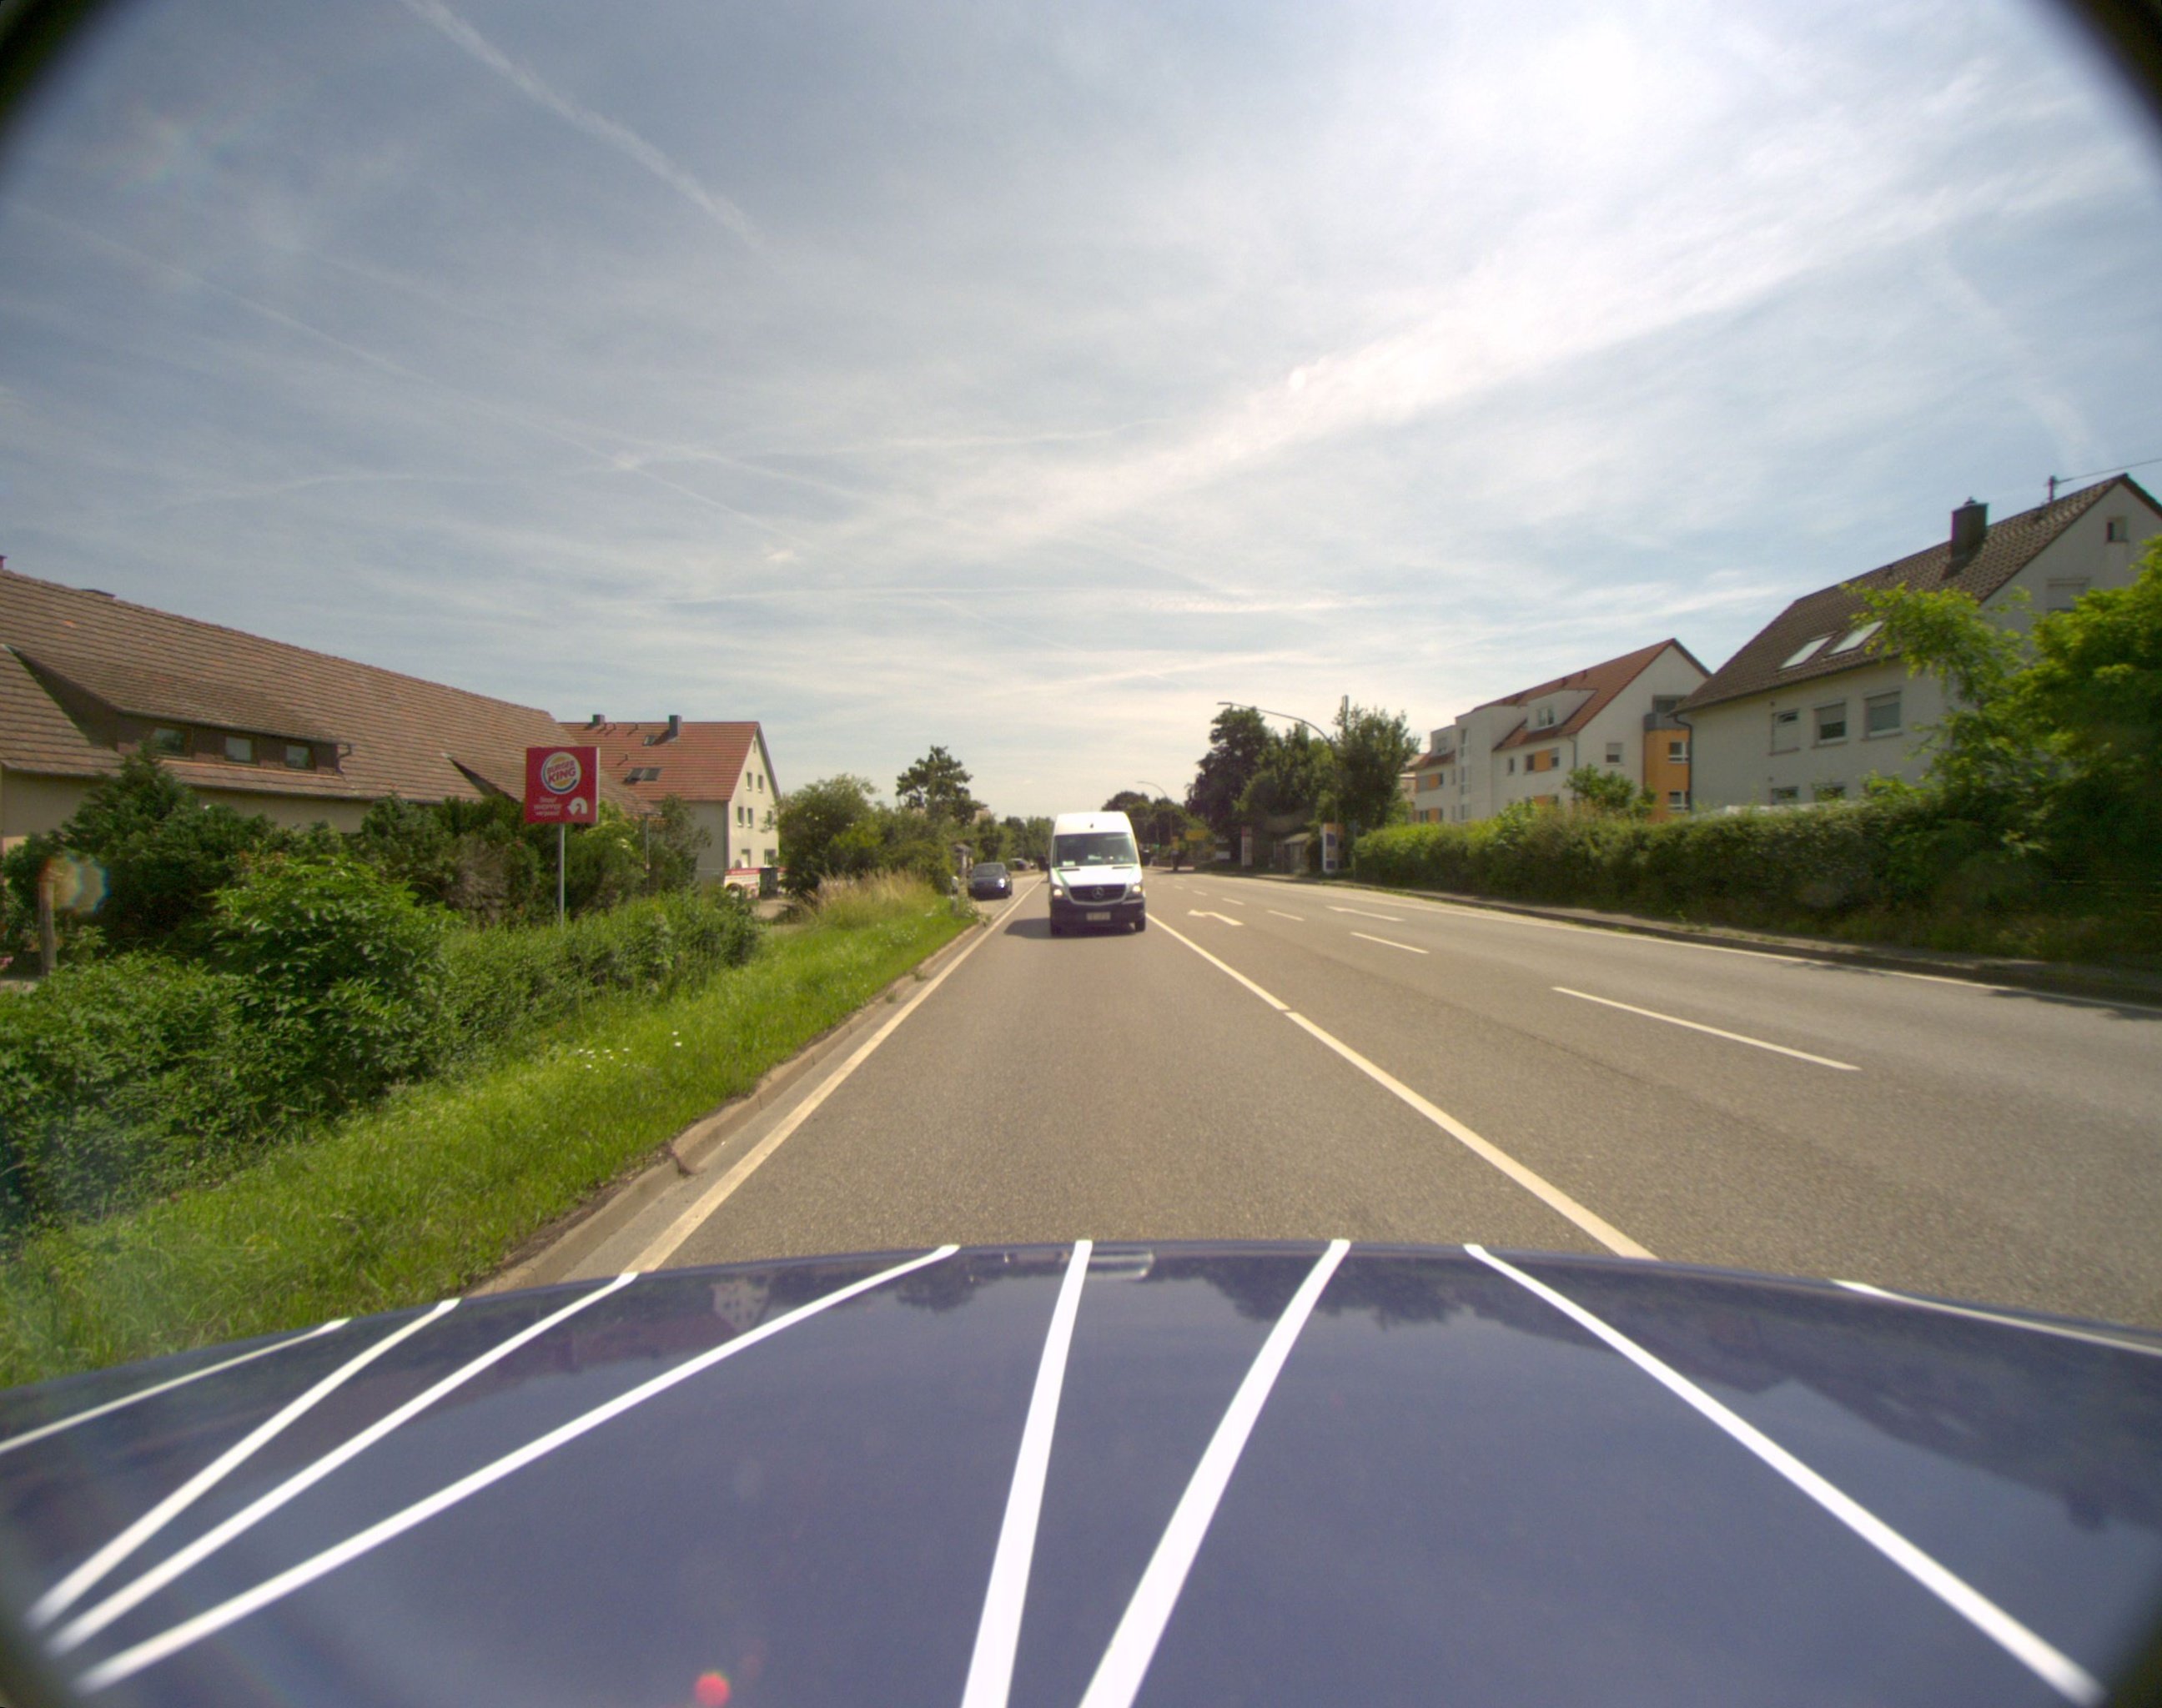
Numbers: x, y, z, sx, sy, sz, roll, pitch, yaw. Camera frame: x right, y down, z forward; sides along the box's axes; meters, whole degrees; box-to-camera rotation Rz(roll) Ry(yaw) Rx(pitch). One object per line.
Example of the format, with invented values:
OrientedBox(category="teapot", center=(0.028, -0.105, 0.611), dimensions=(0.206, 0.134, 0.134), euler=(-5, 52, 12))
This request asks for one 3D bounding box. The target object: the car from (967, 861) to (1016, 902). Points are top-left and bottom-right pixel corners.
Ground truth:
OrientedBox(category="car", center=(-3.737, 1.113, 32.138), dimensions=(1.636, 1.476, 3.551), euler=(-5, 1, -2))

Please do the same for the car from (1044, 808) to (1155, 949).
OrientedBox(category="car", center=(0.326, 0.431, 16.740), dimensions=(1.939, 2.514, 5.748), euler=(-2, 0, 0))

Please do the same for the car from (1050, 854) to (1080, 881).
OrientedBox(category="car", center=(-1.030, 0.880, 51.606), dimensions=(1.884, 1.652, 4.625), euler=(-2, 0, 0))

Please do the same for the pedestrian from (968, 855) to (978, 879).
OrientedBox(category="pedestrian", center=(-7.227, 0.853, 50.894), dimensions=(0.522, 1.540, 0.562), euler=(-2, 2, -19))
